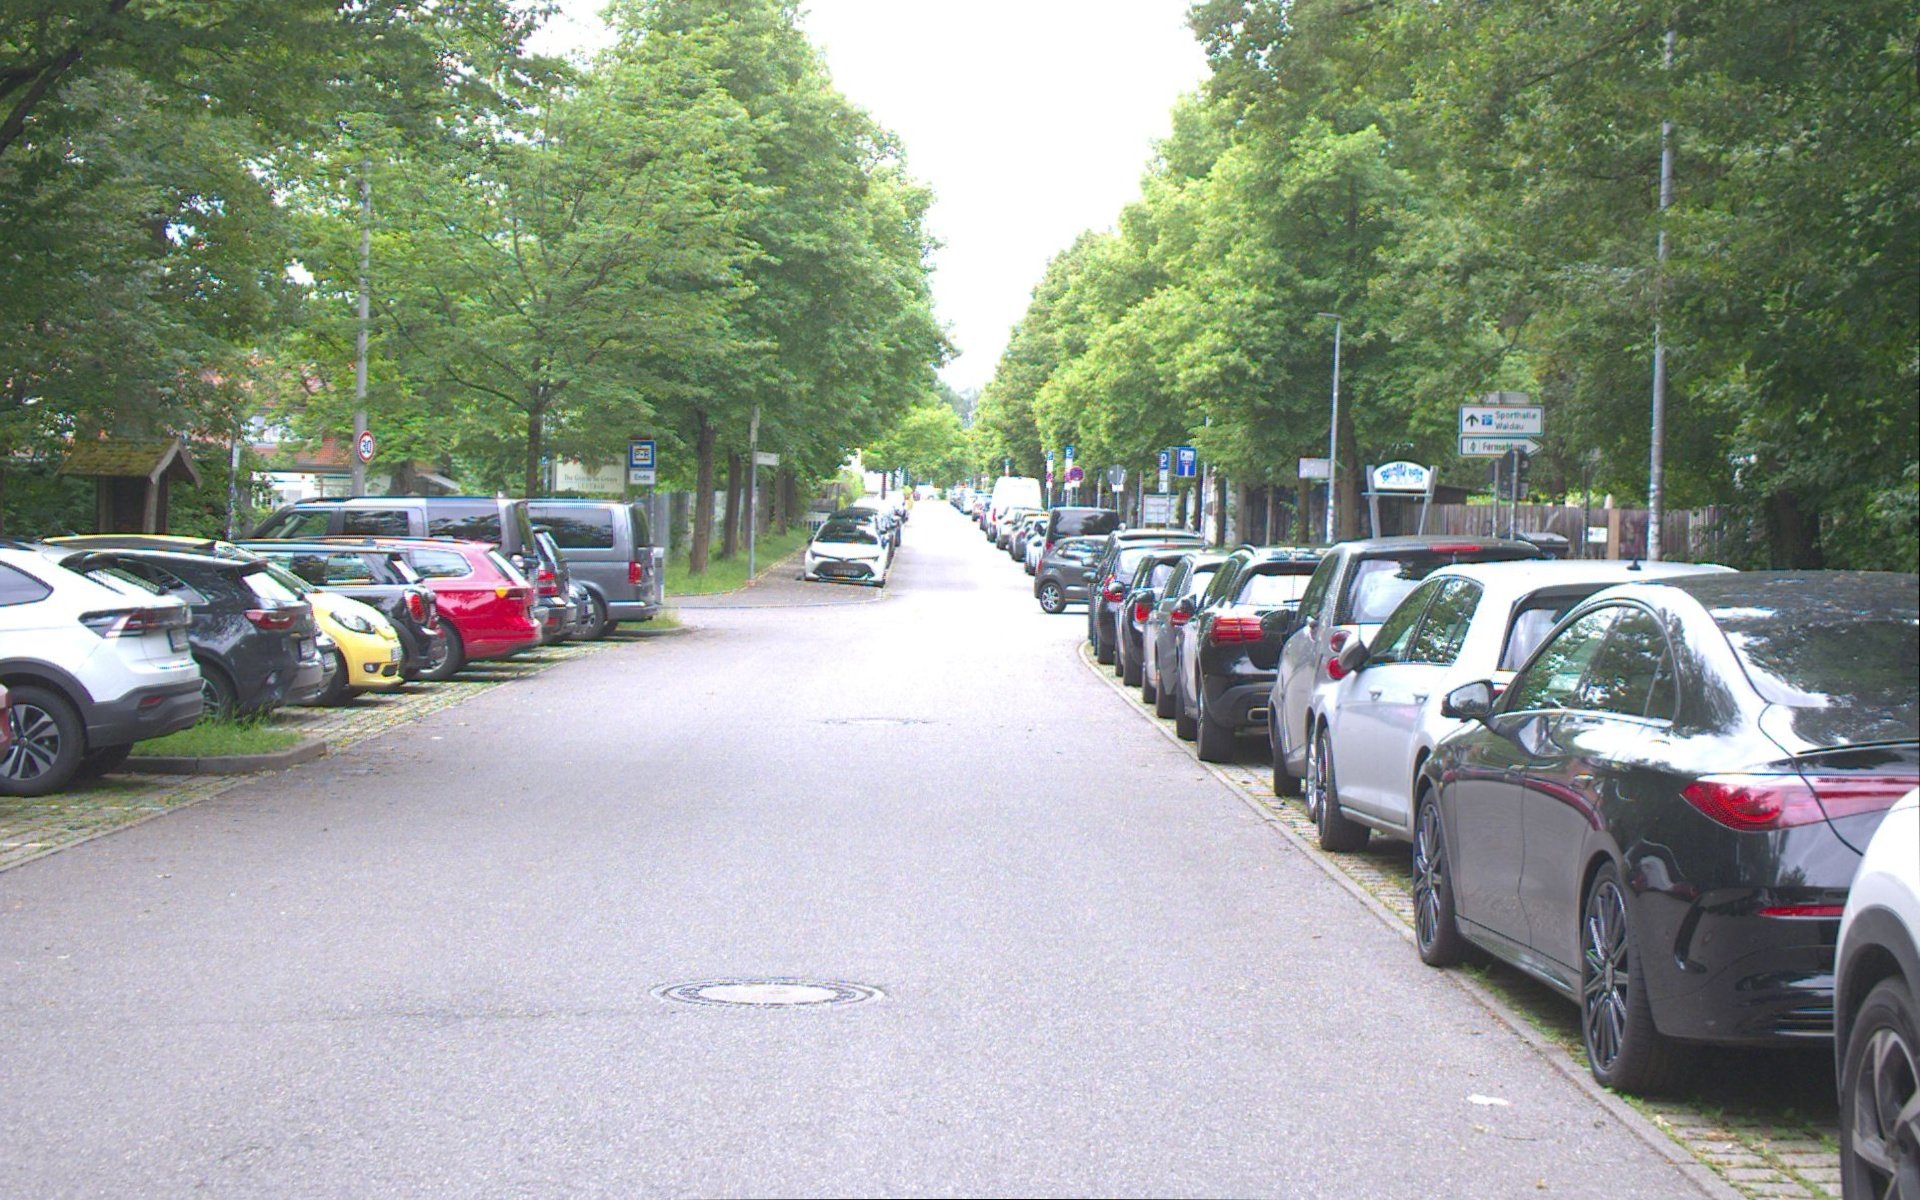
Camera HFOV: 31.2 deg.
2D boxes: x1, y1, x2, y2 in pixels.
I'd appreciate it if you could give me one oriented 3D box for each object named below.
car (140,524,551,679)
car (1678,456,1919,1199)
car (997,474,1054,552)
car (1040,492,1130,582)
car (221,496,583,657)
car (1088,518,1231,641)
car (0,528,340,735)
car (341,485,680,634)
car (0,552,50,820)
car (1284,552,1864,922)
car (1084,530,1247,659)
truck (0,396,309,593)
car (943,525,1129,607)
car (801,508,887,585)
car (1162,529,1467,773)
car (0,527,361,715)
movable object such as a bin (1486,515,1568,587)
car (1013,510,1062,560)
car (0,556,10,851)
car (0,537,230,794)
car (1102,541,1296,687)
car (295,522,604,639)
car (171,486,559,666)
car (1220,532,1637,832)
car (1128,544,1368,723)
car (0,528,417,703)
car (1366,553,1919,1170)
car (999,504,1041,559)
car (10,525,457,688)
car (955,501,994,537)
[{"bbox_3d":[-6.367,-0.006,35.939,3.986,1.471,1.780,1,1,-2],"label":"car"},{"bbox_3d":[2.605,0.586,5.528,1.736,1.638,5.072,1,1,-1],"label":"car"},{"bbox_3d":[2.631,-3.492,137.702,2.184,3.005,4.897,1,1,1],"label":"car"},{"bbox_3d":[2.873,-1.476,79.715,1.988,2.007,4.108,1,2,1],"label":"car"},{"bbox_3d":[-6.569,-0.293,40.773,3.986,1.759,1.824,2,1,-2],"label":"car"},{"bbox_3d":[2.762,-0.321,48.391,1.736,1.628,4.375,1,1,0],"label":"car"},{"bbox_3d":[-6.830,0.192,25.868,3.987,1.433,1.715,2,1,0],"label":"car"},{"bbox_3d":[-6.252,-0.569,48.151,4.502,1.971,1.891,1,0,-1],"label":"car"},{"bbox_3d":[-7.154,0.430,18.583,3.987,1.430,1.702,1,1,2],"label":"car"},{"bbox_3d":[2.640,0.517,15.749,1.736,1.420,4.155,1,1,-2],"label":"car"},{"bbox_3d":[2.492,-0.107,42.461,1.736,1.489,4.234,1,1,0],"label":"car"},{"bbox_3d":[-14.985,-1.808,59.530,7.245,3.225,3.442,1,0,-11],"label":"truck"},{"bbox_3d":[1.396,-0.642,64.971,1.872,1.481,4.001,1,1,-26],"label":"car"},{"bbox_3d":[-2.626,-1.223,77.133,1.765,1.590,4.217,3,1,-3],"label":"car"},{"bbox_3d":[2.472,0.292,24.929,1.736,1.583,4.382,1,1,0],"label":"car"},{"bbox_3d":[-7.138,0.138,28.596,3.987,1.433,1.734,2,1,0],"label":"car"},{"bbox_3d":[11.576,-0.996,70.190,1.282,1.437,1.078,1,0,-44],"label":"movable object such as a bin"},{"bbox_3d":[2.431,-2.054,108.175,1.469,1.526,3.189,1,2,1],"label":"car"},{"bbox_3d":[-6.658,0.478,15.989,3.987,1.430,1.677,1,1,2],"label":"car"},{"bbox_3d":[-6.626,0.342,20.937,3.987,1.462,1.715,1,1,0],"label":"car"},{"bbox_3d":[2.501,0.101,36.895,1.736,1.427,4.502,1,1,0],"label":"car"},{"bbox_3d":[-6.801,-0.277,46.021,3.815,1.507,1.809,0,2,3],"label":"car"},{"bbox_3d":[-6.583,-0.280,38.336,3.987,1.856,1.813,2,1,0],"label":"car"},{"bbox_3d":[2.640,0.396,20.254,1.736,1.562,4.009,1,1,-2],"label":"car"},{"bbox_3d":[2.483,0.240,30.577,1.736,1.427,4.502,1,1,0],"label":"car"},{"bbox_3d":[-7.016,0.118,30.918,3.987,1.433,1.618,2,1,0],"label":"car"},{"bbox_3d":[2.504,0.619,10.719,1.736,1.469,4.606,1,1,-2],"label":"car"},{"bbox_3d":[2.154,-2.490,124.166,1.469,1.961,3.189,1,1,1],"label":"car"},{"bbox_3d":[-6.983,0.048,33.305,3.986,1.433,1.672,1,1,-2],"label":"car"},{"bbox_3d":[0.829,-4.658,197.831,1.994,2.007,4.000,1,0,3],"label":"car"}]
